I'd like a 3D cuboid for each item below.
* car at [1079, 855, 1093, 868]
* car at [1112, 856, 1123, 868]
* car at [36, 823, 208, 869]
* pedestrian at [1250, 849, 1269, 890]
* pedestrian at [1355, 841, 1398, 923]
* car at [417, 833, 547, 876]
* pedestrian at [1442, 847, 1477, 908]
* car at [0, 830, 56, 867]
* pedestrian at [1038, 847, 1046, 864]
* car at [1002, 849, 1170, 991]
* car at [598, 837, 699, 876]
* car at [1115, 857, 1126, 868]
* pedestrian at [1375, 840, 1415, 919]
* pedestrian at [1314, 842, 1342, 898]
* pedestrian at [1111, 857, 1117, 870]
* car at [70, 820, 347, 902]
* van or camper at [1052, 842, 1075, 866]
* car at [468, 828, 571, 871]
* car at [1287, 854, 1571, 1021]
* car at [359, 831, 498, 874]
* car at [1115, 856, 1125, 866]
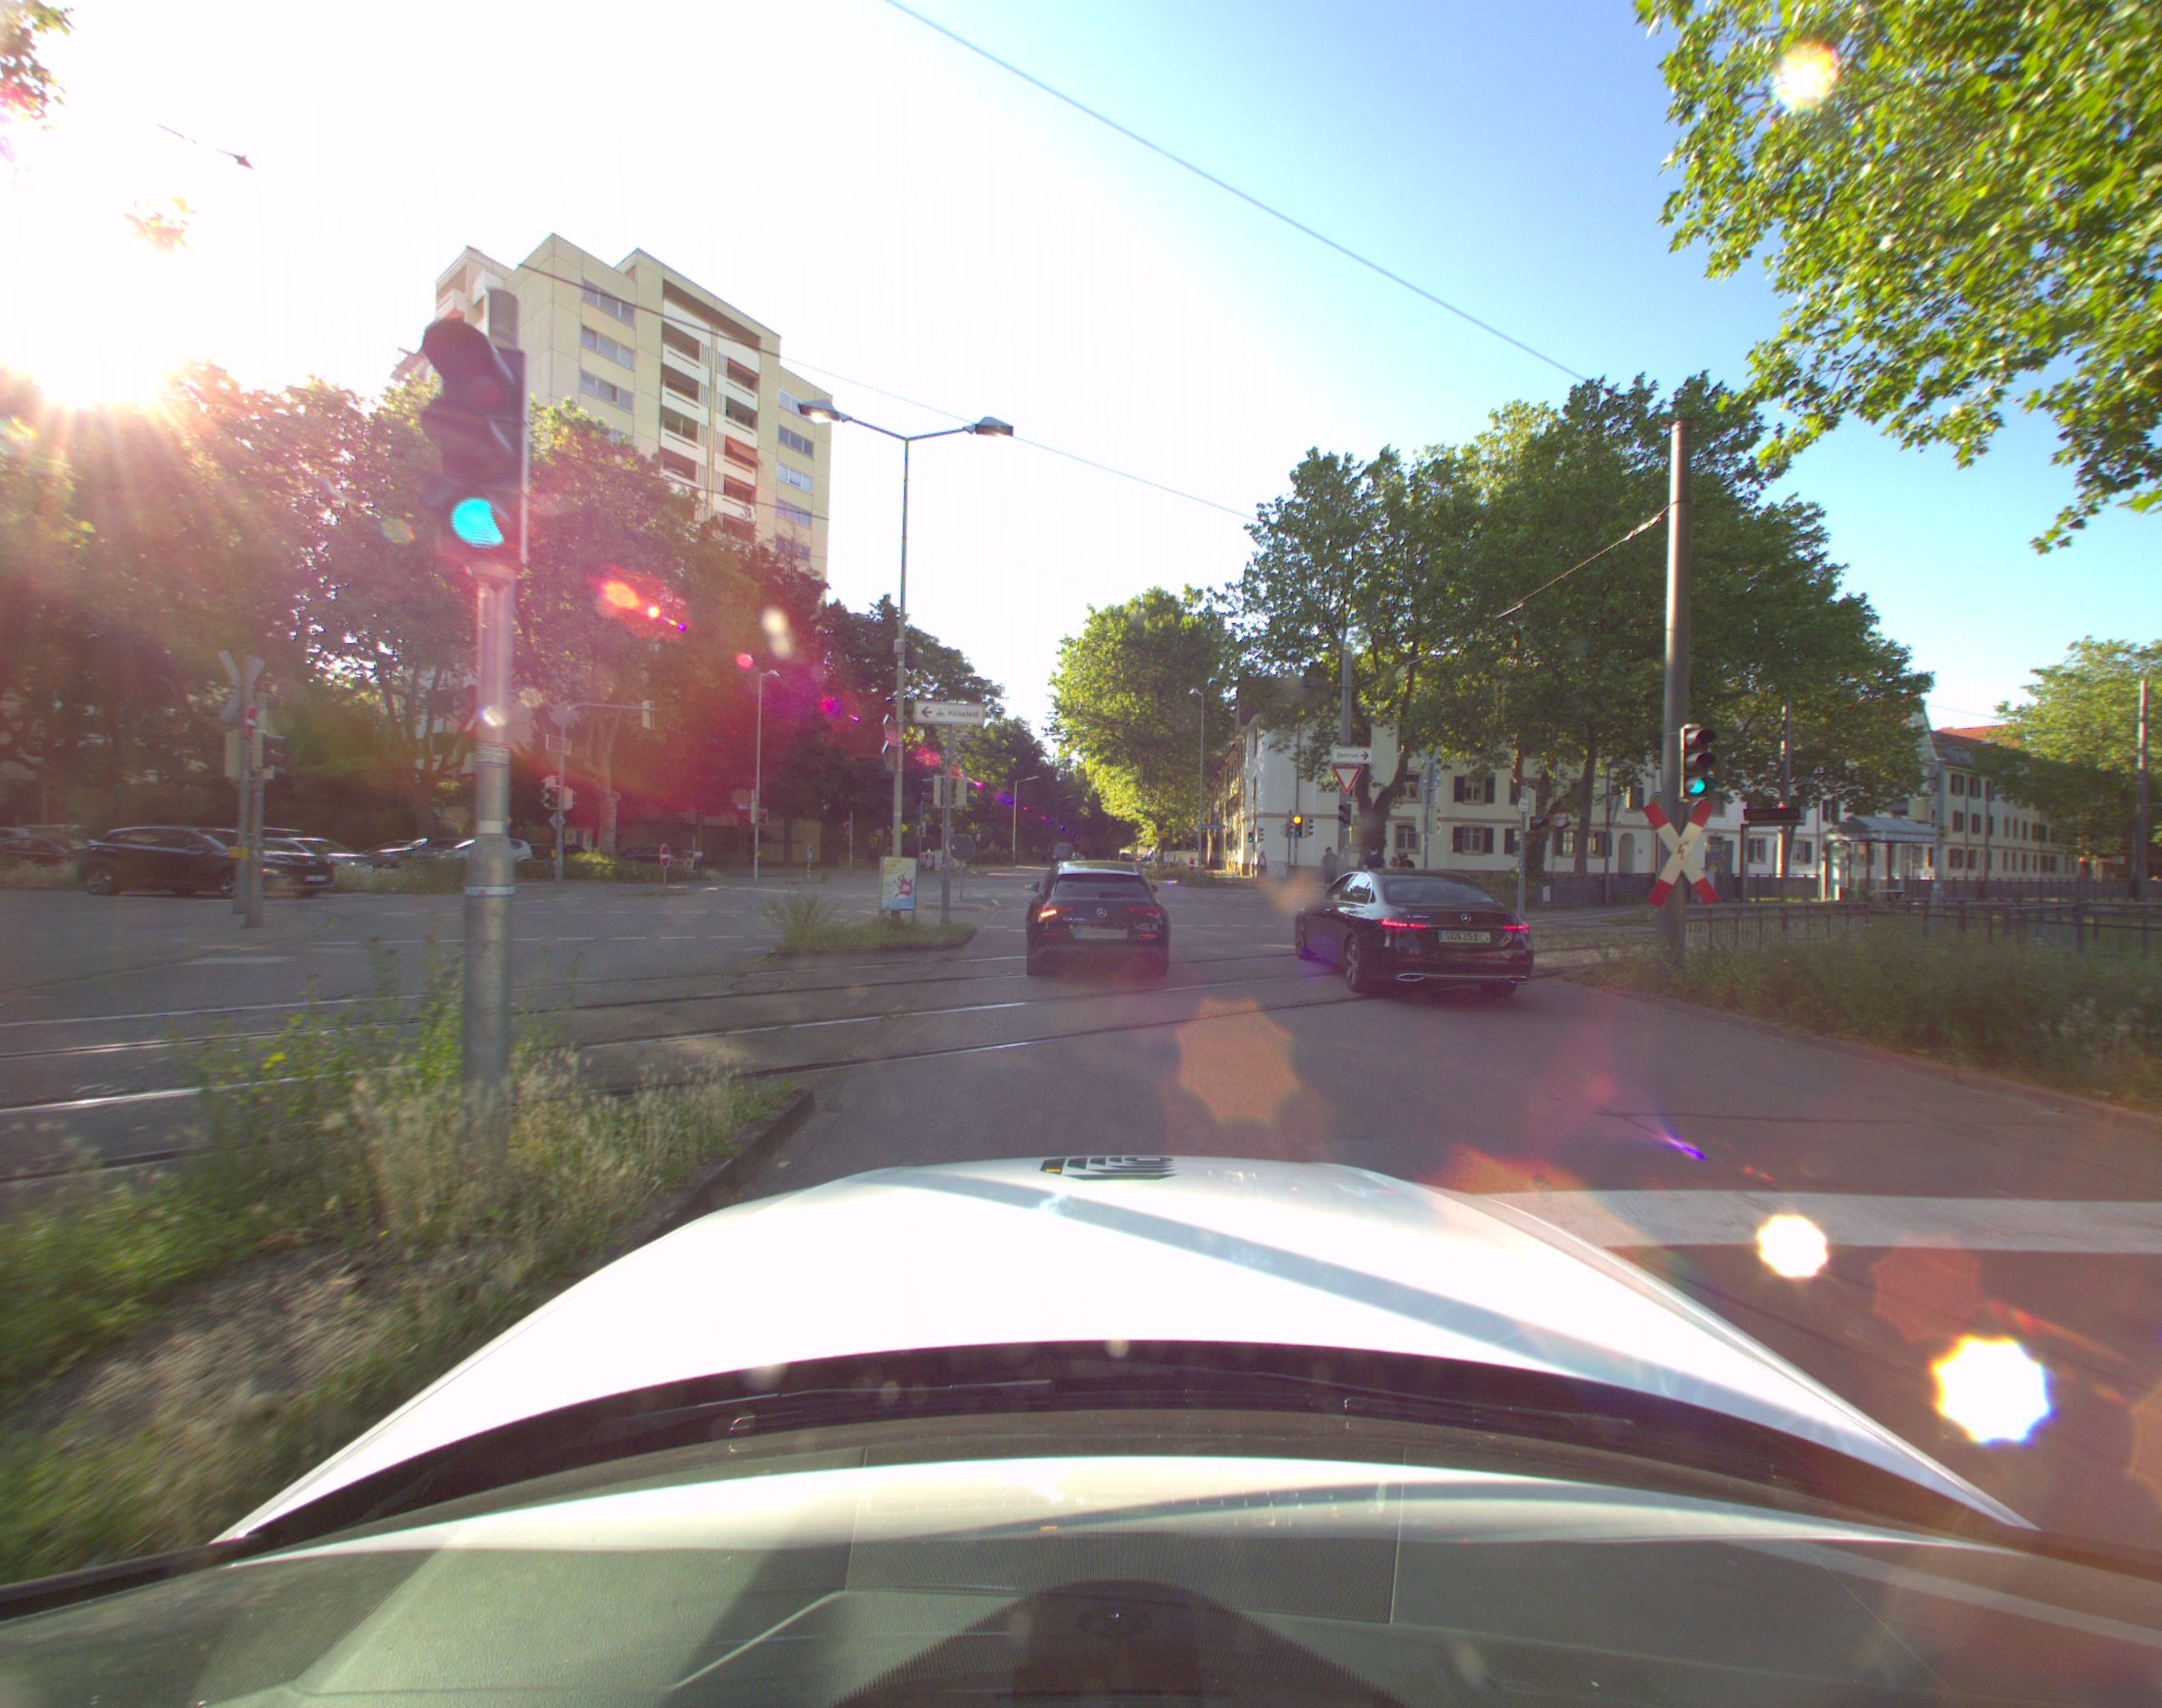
[{"bbox_3d":[0.793,1.046,116.847,1.726,1.765,3.974,2,-1,3],"label":"car"},{"bbox_3d":[6.010,1.335,135.114,1.726,1.765,4.022,2,-1,3],"label":"car"},{"bbox_3d":[-36.619,-0.256,31.202,1.716,1.596,4.025,1,-1,33],"label":"car"},{"bbox_3d":[8.542,0.718,38.953,0.703,1.918,0.839,2,-1,0],"label":"pedestrian"},{"bbox_3d":[7.112,0.662,19.597,0.704,1.918,0.683,2,-1,-6],"label":"pedestrian"},{"bbox_3d":[-24.084,0.045,32.861,1.716,1.596,3.831,1,-1,33],"label":"car"},{"bbox_3d":[12.218,0.759,26.286,0.703,1.918,0.839,2,-1,0],"label":"pedestrian"},{"bbox_3d":[-48.244,-0.268,35.624,1.716,1.596,4.025,1,-1,33],"label":"car"},{"bbox_3d":[-4.620,0.176,96.443,0.701,1.918,0.841,2,-1,9],"label":"pedestrian"},{"bbox_3d":[0.228,0.739,11.318,1.881,1.450,4.006,2,2,5],"label":"car"},{"bbox_3d":[-21.572,0.116,40.688,3.962,1.774,2.006,2,-1,10],"label":"car"},{"bbox_3d":[6.858,1.477,140.554,1.726,1.765,4.022,2,-1,3],"label":"car"},{"bbox_3d":[7.832,0.640,20.349,0.680,1.918,0.707,2,-1,-1],"label":"pedestrian"},{"bbox_3d":[8.821,0.567,29.068,0.703,1.918,0.839,2,-1,0],"label":"pedestrian"},{"bbox_3d":[4.889,1.438,120.252,0.704,1.918,0.837,2,-1,-7],"label":"pedestrian"},{"bbox_3d":[-19.055,0.156,17.949,3.978,1.596,1.736,2,-1,-4],"label":"car"},{"bbox_3d":[-1.892,0.037,90.282,1.985,2.541,4.655,2,-1,4],"label":"van or camper"},{"bbox_3d":[-28.448,-0.207,41.317,3.962,2.014,2.006,2,-1,10],"label":"car"},{"bbox_3d":[4.052,0.837,10.396,1.882,1.490,4.385,2,2,3],"label":"car"},{"bbox_3d":[-26.373,-0.017,33.062,1.716,1.596,4.025,1,-1,33],"label":"car"},{"bbox_3d":[7.043,1.319,148.567,1.726,1.765,4.022,2,-1,3],"label":"car"}]
